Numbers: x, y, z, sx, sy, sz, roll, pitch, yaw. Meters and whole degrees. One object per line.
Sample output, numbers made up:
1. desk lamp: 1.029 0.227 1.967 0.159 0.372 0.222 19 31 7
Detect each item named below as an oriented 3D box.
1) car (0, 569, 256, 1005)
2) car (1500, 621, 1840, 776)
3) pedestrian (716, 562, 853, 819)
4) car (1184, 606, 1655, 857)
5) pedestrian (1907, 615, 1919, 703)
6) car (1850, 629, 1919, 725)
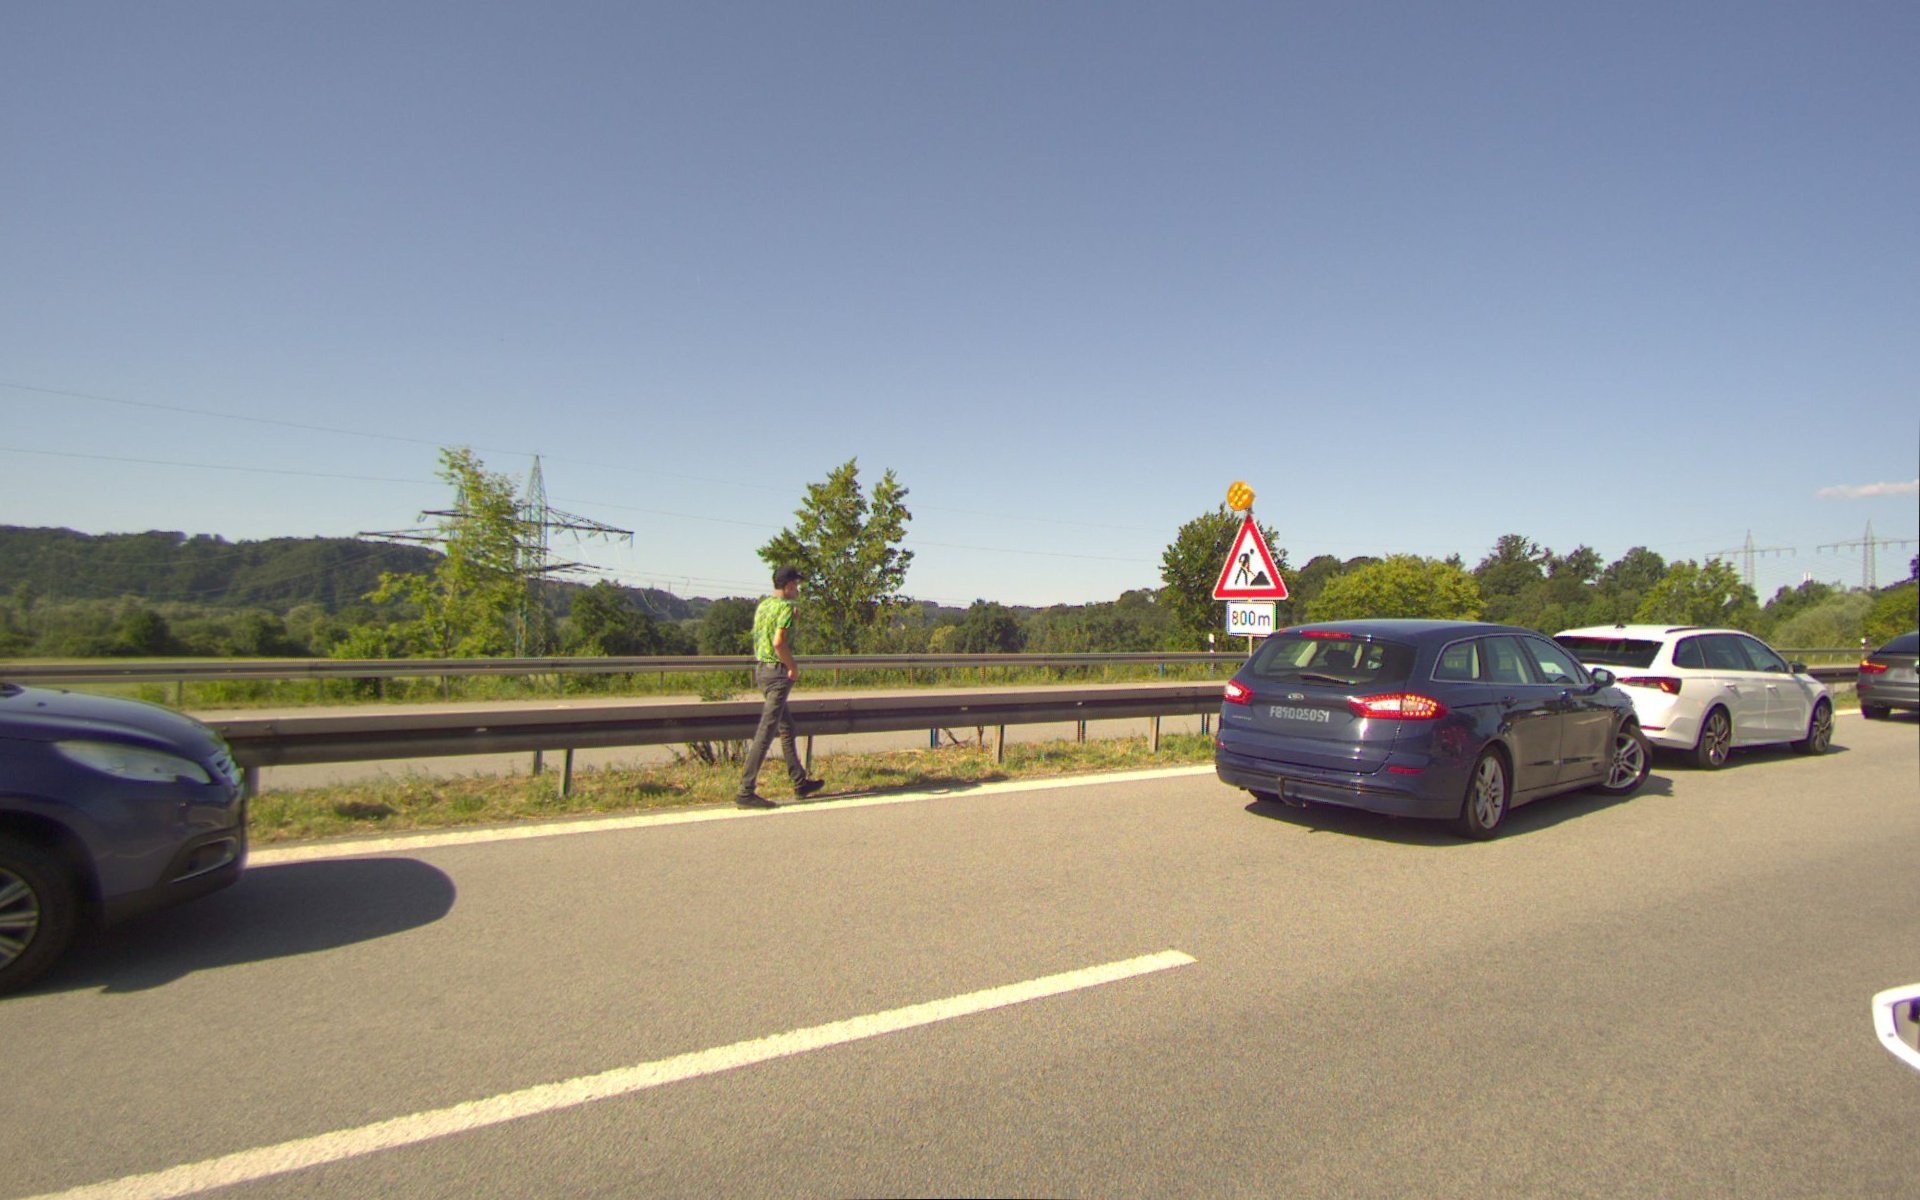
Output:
1. car: -4.902 0.627 3.548 3.909 1.555 1.676 1 0 -35
2. car: 8.207 1.011 11.522 4.163 1.461 1.686 1 0 -32
3. pedestrian: -1.303 0.636 7.436 0.805 1.773 0.667 1 -1 -31
4. car: 3.922 0.856 8.185 4.456 1.513 1.773 2 -2 -40
5. pedestrian: 20.241 1.208 20.489 1.032 1.786 1.109 1 -2 -32
6. car: 16.513 1.230 16.492 4.285 1.445 1.686 1 0 -32
